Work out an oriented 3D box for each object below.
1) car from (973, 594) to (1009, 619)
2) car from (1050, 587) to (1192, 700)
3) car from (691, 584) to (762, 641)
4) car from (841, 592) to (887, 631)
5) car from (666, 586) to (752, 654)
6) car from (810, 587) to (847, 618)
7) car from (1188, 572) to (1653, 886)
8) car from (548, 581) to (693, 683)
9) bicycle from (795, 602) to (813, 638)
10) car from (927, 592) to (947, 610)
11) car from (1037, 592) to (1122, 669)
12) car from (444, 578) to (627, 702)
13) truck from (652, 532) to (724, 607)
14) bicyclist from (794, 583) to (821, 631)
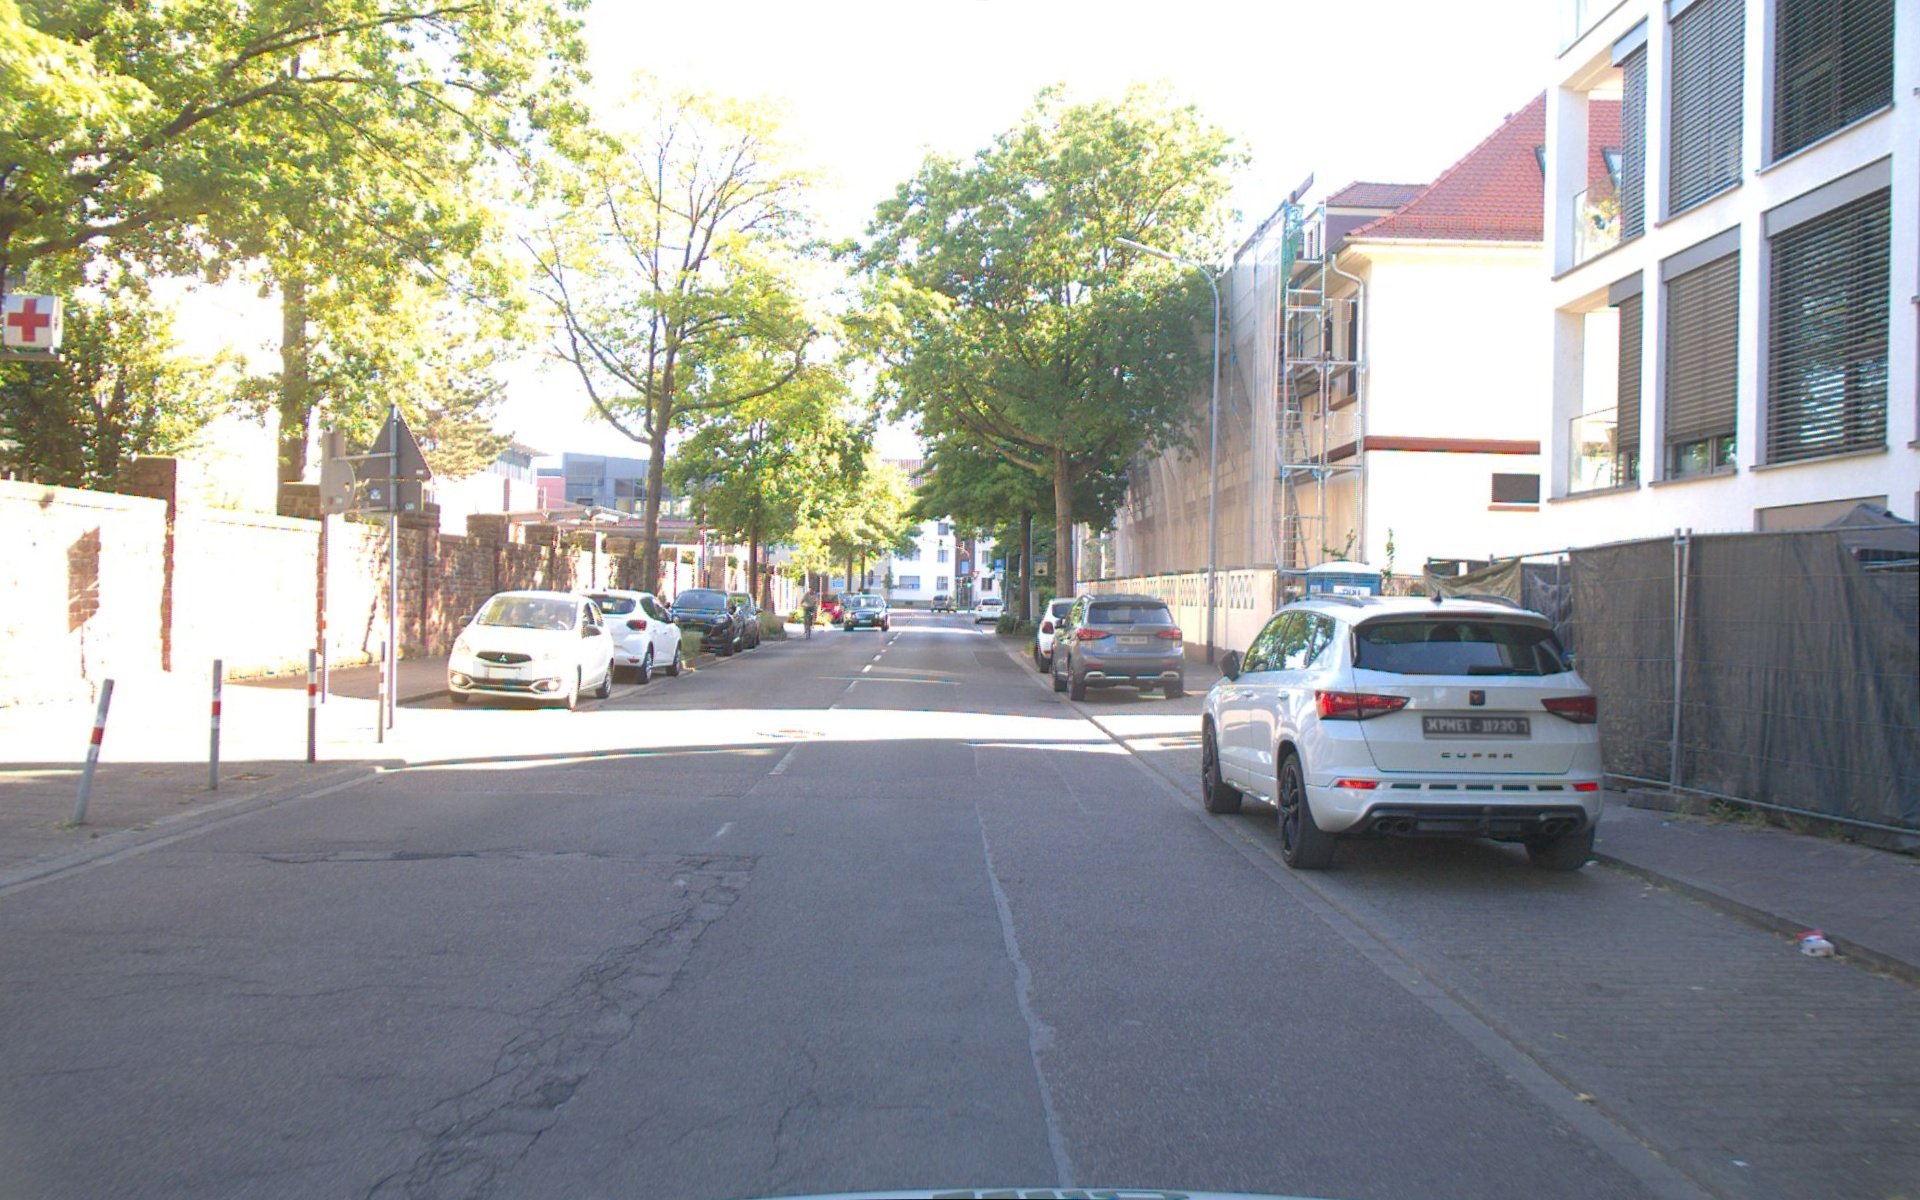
[{"bbox_3d":[1.696,0.321,92.093,1.795,1.346,4.495,0,0,-2],"label":"car"},{"bbox_3d":[2.539,0.642,27.045,1.678,1.667,4.300,1,0,-3],"label":"car"},{"bbox_3d":[-6.394,0.319,45.606,1.654,1.446,3.835,3,0,-5],"label":"car"},{"bbox_3d":[-3.977,0.461,68.860,1.785,1.461,3.967,3,0,-3],"label":"car"},{"bbox_3d":[-6.082,0.457,40.438,1.542,1.541,4.043,2,0,-2],"label":"car"},{"bbox_3d":[-6.695,0.107,84.411,1.576,1.484,3.708,3,0,-1],"label":"car"},{"bbox_3d":[2.793,0.687,11.043,1.757,1.644,4.124,2,0,-2],"label":"car"},{"bbox_3d":[-5.832,0.503,28.826,1.643,1.537,3.849,4,0,-1],"label":"car"},{"bbox_3d":[-5.180,0.657,54.875,0.350,1.140,1.866,3,0,0],"label":"bicycle"},{"bbox_3d":[-2.023,0.116,145.431,1.606,1.468,3.421,3,0,0],"label":"car"},{"bbox_3d":[2.536,0.621,35.791,1.688,1.536,3.993,0,1,2],"label":"car"},{"bbox_3d":[-5.707,0.491,22.632,1.542,1.426,3.749,5,0,-2],"label":"car"},{"bbox_3d":[-14.721,-1.601,90.113,2.677,3.776,7.426,3,0,-1],"label":"truck"},{"bbox_3d":[-5.062,0.238,54.827,0.706,1.549,1.005,3,0,2],"label":"bicyclist"}]
